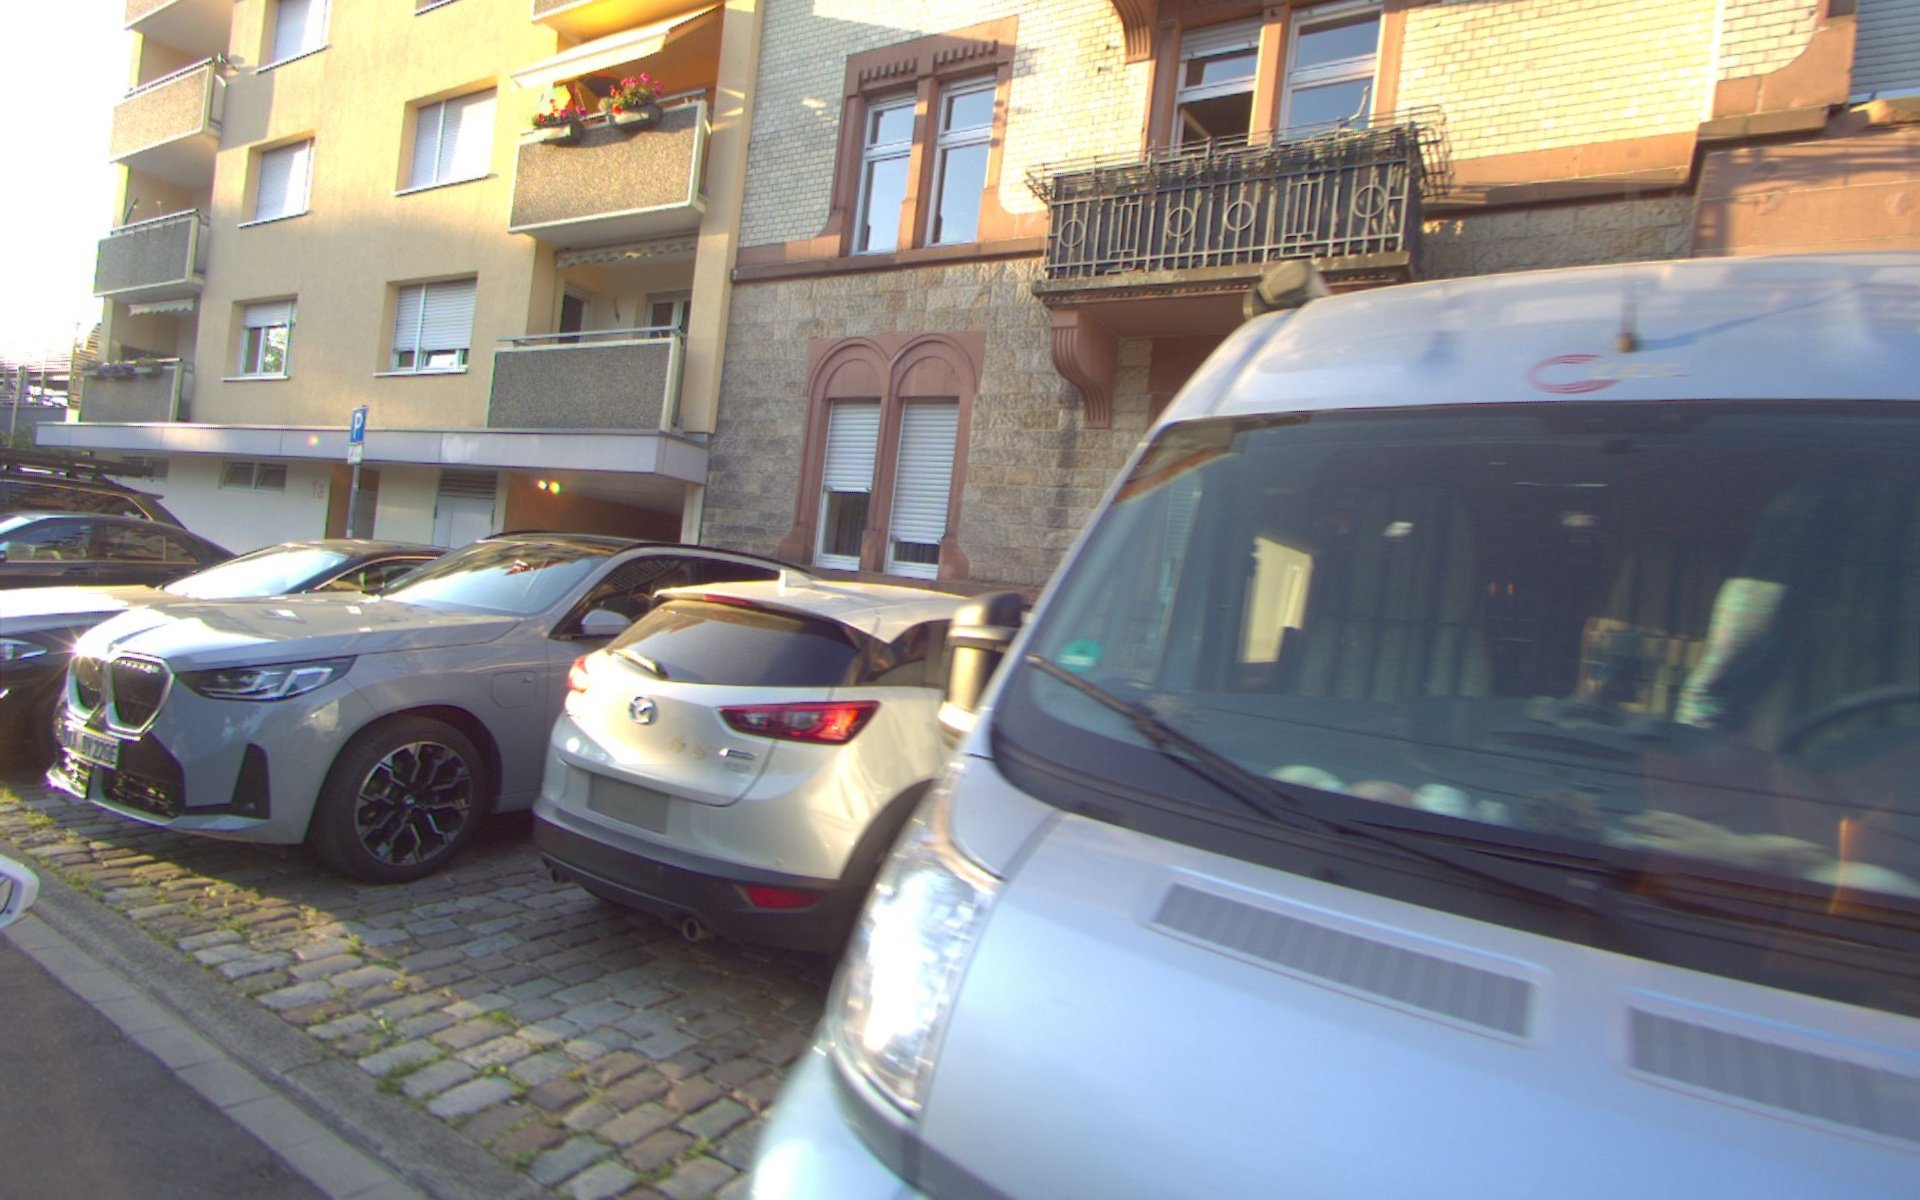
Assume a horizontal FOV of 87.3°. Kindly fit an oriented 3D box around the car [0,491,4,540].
[{"bbox_3d":[-18.401,-1.261,15.886,1.815,1.612,4.408,4,-1,31],"label":"car"}]

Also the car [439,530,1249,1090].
[{"bbox_3d":[-0.073,0.718,5.345,1.816,1.638,4.406,4,-1,33],"label":"car"}]

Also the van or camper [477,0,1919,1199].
[{"bbox_3d":[1.933,0.436,3.154,2.016,2.536,6.064,7,0,31],"label":"van or camper"}]

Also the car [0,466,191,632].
[{"bbox_3d":[-12.289,-0.734,11.987,1.815,1.886,4.517,6,0,31],"label":"car"}]

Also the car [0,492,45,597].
[{"bbox_3d":[-16.438,-1.024,14.516,1.815,1.582,4.408,4,-1,31],"label":"car"}]

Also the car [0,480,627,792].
[{"bbox_3d":[-4.753,0.241,7.208,1.814,1.573,4.412,4,-1,27],"label":"car"}]

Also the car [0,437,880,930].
[{"bbox_3d":[-2.484,0.366,6.045,1.813,1.770,4.412,6,0,27],"label":"car"}]

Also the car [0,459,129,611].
[{"bbox_3d":[-14.413,-1.034,13.469,1.815,2.005,4.642,4,-1,31],"label":"car"}]

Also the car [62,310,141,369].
[{"bbox_3d":[-42.481,-12.831,49.768,3.939,2.037,1.995,6,-2,37],"label":"car"}]

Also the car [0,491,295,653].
[{"bbox_3d":[-10.169,-0.327,11.001,1.816,1.573,4.406,4,-1,33],"label":"car"}]
